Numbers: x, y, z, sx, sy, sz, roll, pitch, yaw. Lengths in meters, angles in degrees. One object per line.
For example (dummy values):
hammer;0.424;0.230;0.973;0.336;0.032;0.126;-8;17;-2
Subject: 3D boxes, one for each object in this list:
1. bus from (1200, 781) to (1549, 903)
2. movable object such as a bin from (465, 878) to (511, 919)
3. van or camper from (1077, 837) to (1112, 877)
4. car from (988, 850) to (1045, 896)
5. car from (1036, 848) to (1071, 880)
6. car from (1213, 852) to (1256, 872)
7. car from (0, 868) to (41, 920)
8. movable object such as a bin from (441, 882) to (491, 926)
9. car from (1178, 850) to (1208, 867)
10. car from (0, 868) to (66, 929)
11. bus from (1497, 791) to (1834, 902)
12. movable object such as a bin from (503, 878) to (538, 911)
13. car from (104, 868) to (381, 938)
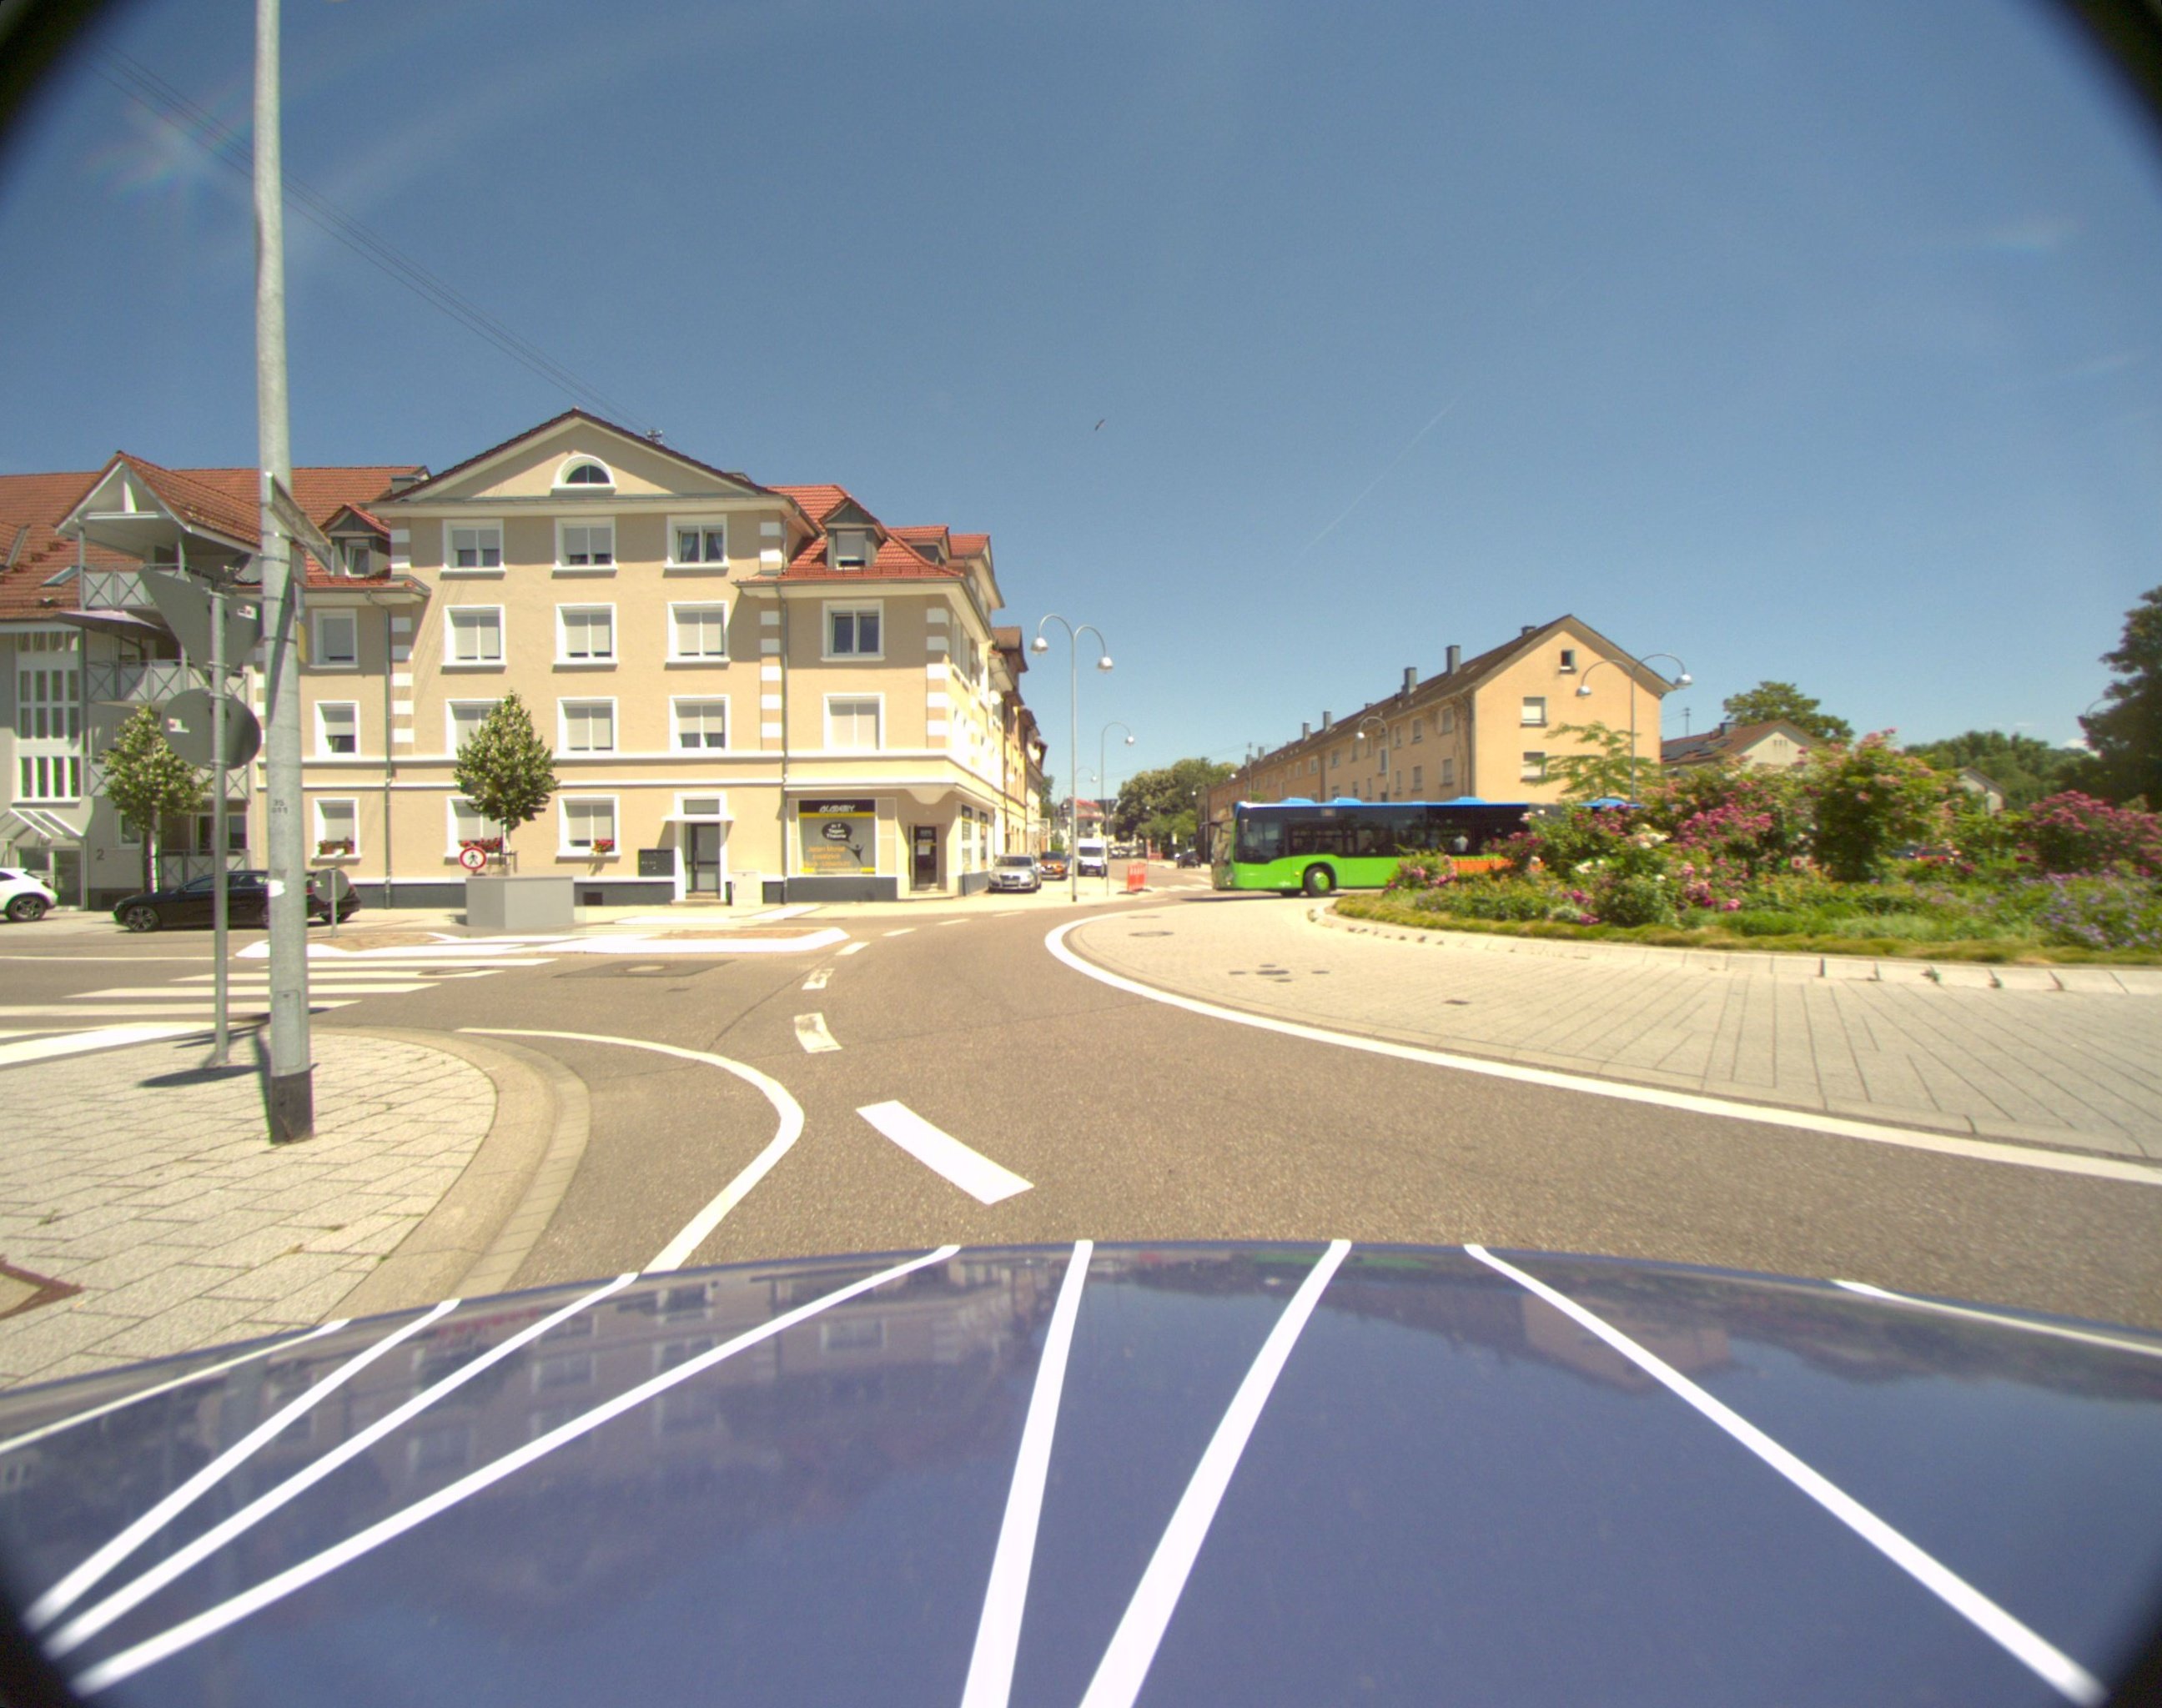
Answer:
bus;9.197;-0.336;24.495;10.080;3.303;2.964;-2;-2;-5
movable object such as a bin;-16.121;1.210;20.672;0.704;1.049;0.642;-1;2;-1
van or camper;0.831;0.152;51.571;2.170;2.574;5.764;1;1;-1
car;-2.414;0.672;29.623;1.768;1.521;4.689;2;1;0
car;-1.481;0.519;41.712;1.677;1.610;4.362;2;1;0
car;11.439;0.574;56.842;2.000;1.412;4.086;-1;0;-6
car;-31.852;1.211;20.341;1.904;1.428;4.295;-1;2;4
movable object such as a bin;-15.898;1.289;19.650;0.704;1.049;0.670;-1;3;-1
car;10.757;0.379;73.089;1.862;1.498;4.560;-3;0;-4
car;-29.226;1.237;18.939;1.904;1.515;4.295;-1;2;4
bus;18.834;-0.225;24.841;8.918;3.091;2.830;-2;-1;-3
movable object such as a bin;-16.977;1.222;23.040;0.579;0.930;0.656;-1;2;-8
car;-20.418;1.142;18.733;4.173;1.428;1.903;-1;2;-13
